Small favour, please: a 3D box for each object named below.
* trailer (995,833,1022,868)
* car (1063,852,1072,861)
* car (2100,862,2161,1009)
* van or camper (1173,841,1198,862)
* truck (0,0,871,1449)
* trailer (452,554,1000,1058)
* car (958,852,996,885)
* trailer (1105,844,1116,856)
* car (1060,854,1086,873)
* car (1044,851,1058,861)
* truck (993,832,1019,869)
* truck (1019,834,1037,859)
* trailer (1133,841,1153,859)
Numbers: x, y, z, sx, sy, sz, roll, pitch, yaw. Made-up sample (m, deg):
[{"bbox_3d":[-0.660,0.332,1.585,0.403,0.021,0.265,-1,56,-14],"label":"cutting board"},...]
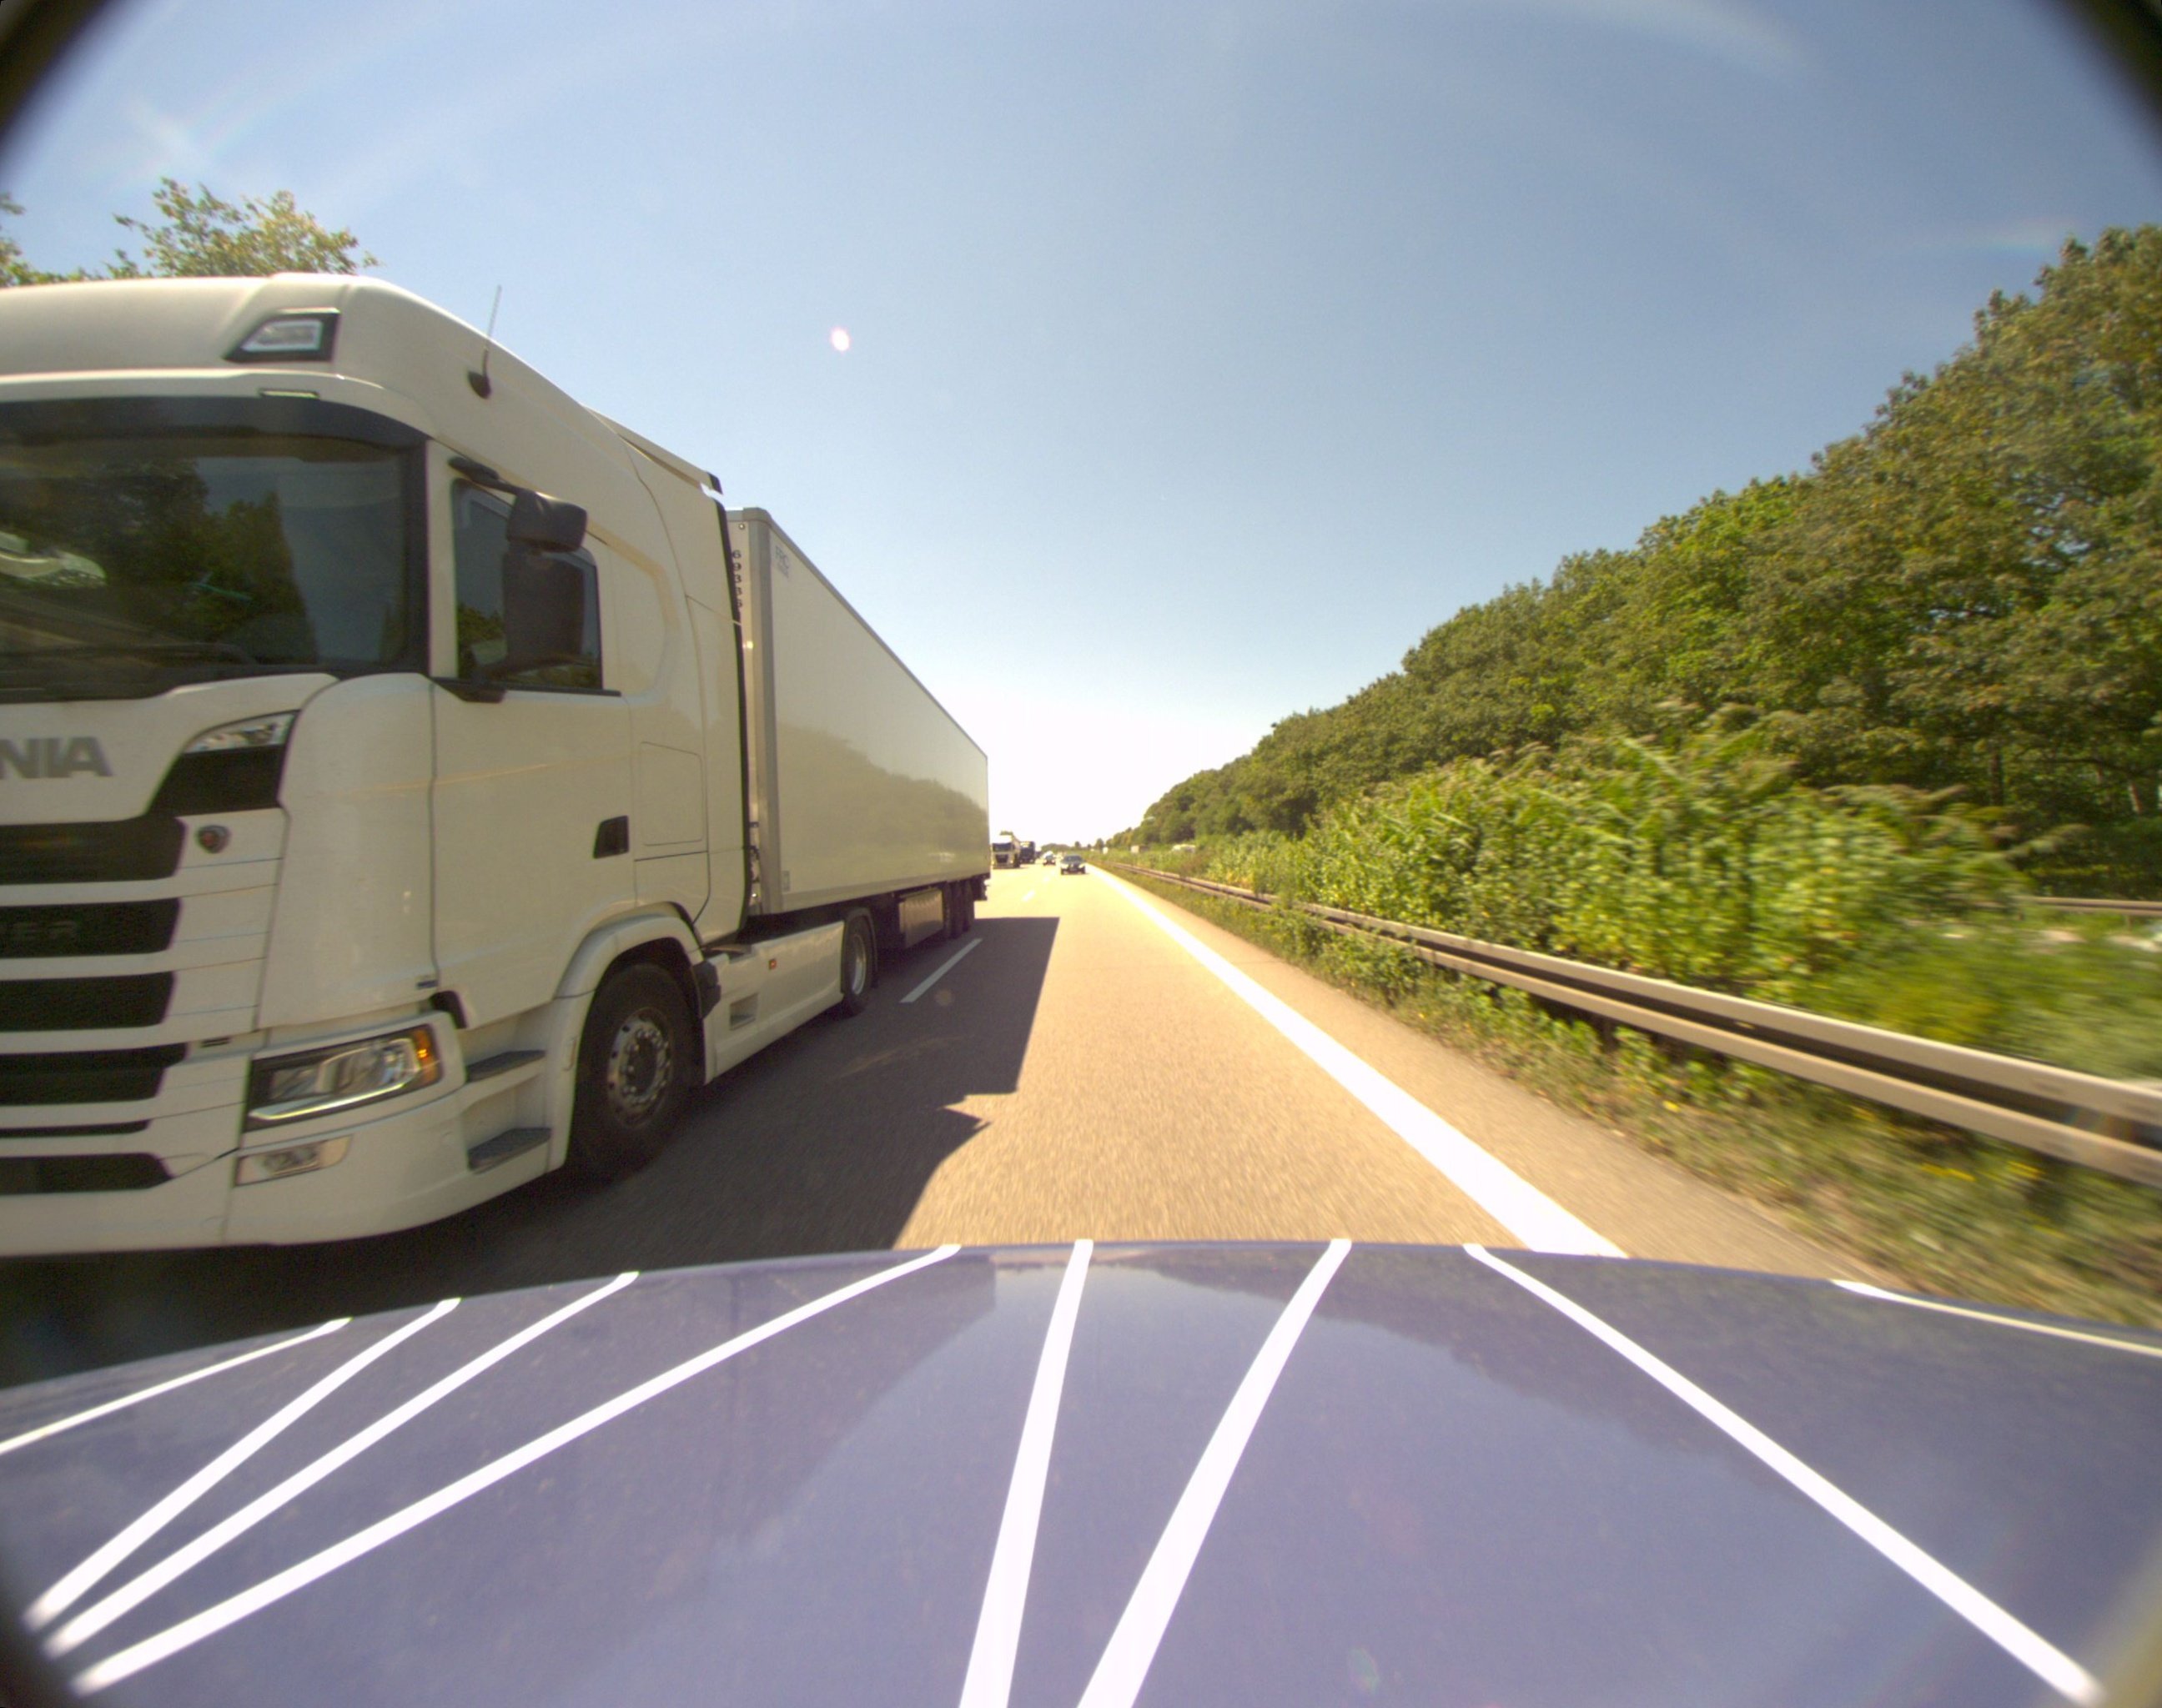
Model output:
[{"bbox_3d":[-9.149,-0.398,97.451,2.798,4.180,12.349,-1,0,-3],"label":"trailer"},{"bbox_3d":[-3.201,0.566,185.479,1.999,2.002,3.999,-1,0,-3],"label":"car"},{"bbox_3d":[12.911,0.922,6.758,1.815,1.611,4.341,0,1,-1],"label":"car"},{"bbox_3d":[15.805,-0.336,115.690,2.426,3.094,9.085,-1,0,-1],"label":"van or camper"},{"bbox_3d":[-3.482,-0.404,4.364,3.237,4.133,4.559,-1,0,-1],"label":"truck"},{"bbox_3d":[-3.577,-0.400,12.460,3.232,4.119,12.350,-1,0,-1],"label":"trailer"},{"bbox_3d":[-6.867,0.896,50.488,1.861,1.991,5.520,-2,0,-2],"label":"car"},{"bbox_3d":[10.155,-1.449,262.878,2.928,4.026,12.912,-1,0,-1],"label":"trailer"},{"bbox_3d":[-0.607,0.654,57.353,1.887,1.341,4.467,-1,0,-1],"label":"car"},{"bbox_3d":[-4.229,0.250,106.278,1.841,1.409,4.495,-1,0,-5],"label":"car"},{"bbox_3d":[-8.806,-0.403,90.084,2.798,4.180,4.998,-1,0,-3],"label":"truck"},{"bbox_3d":[-9.279,-1.229,133.438,2.798,4.180,10.804,-1,0,-2],"label":"truck"},{"bbox_3d":[14.089,-0.924,173.131,2.917,3.855,13.639,-1,0,-2],"label":"trailer"}]
